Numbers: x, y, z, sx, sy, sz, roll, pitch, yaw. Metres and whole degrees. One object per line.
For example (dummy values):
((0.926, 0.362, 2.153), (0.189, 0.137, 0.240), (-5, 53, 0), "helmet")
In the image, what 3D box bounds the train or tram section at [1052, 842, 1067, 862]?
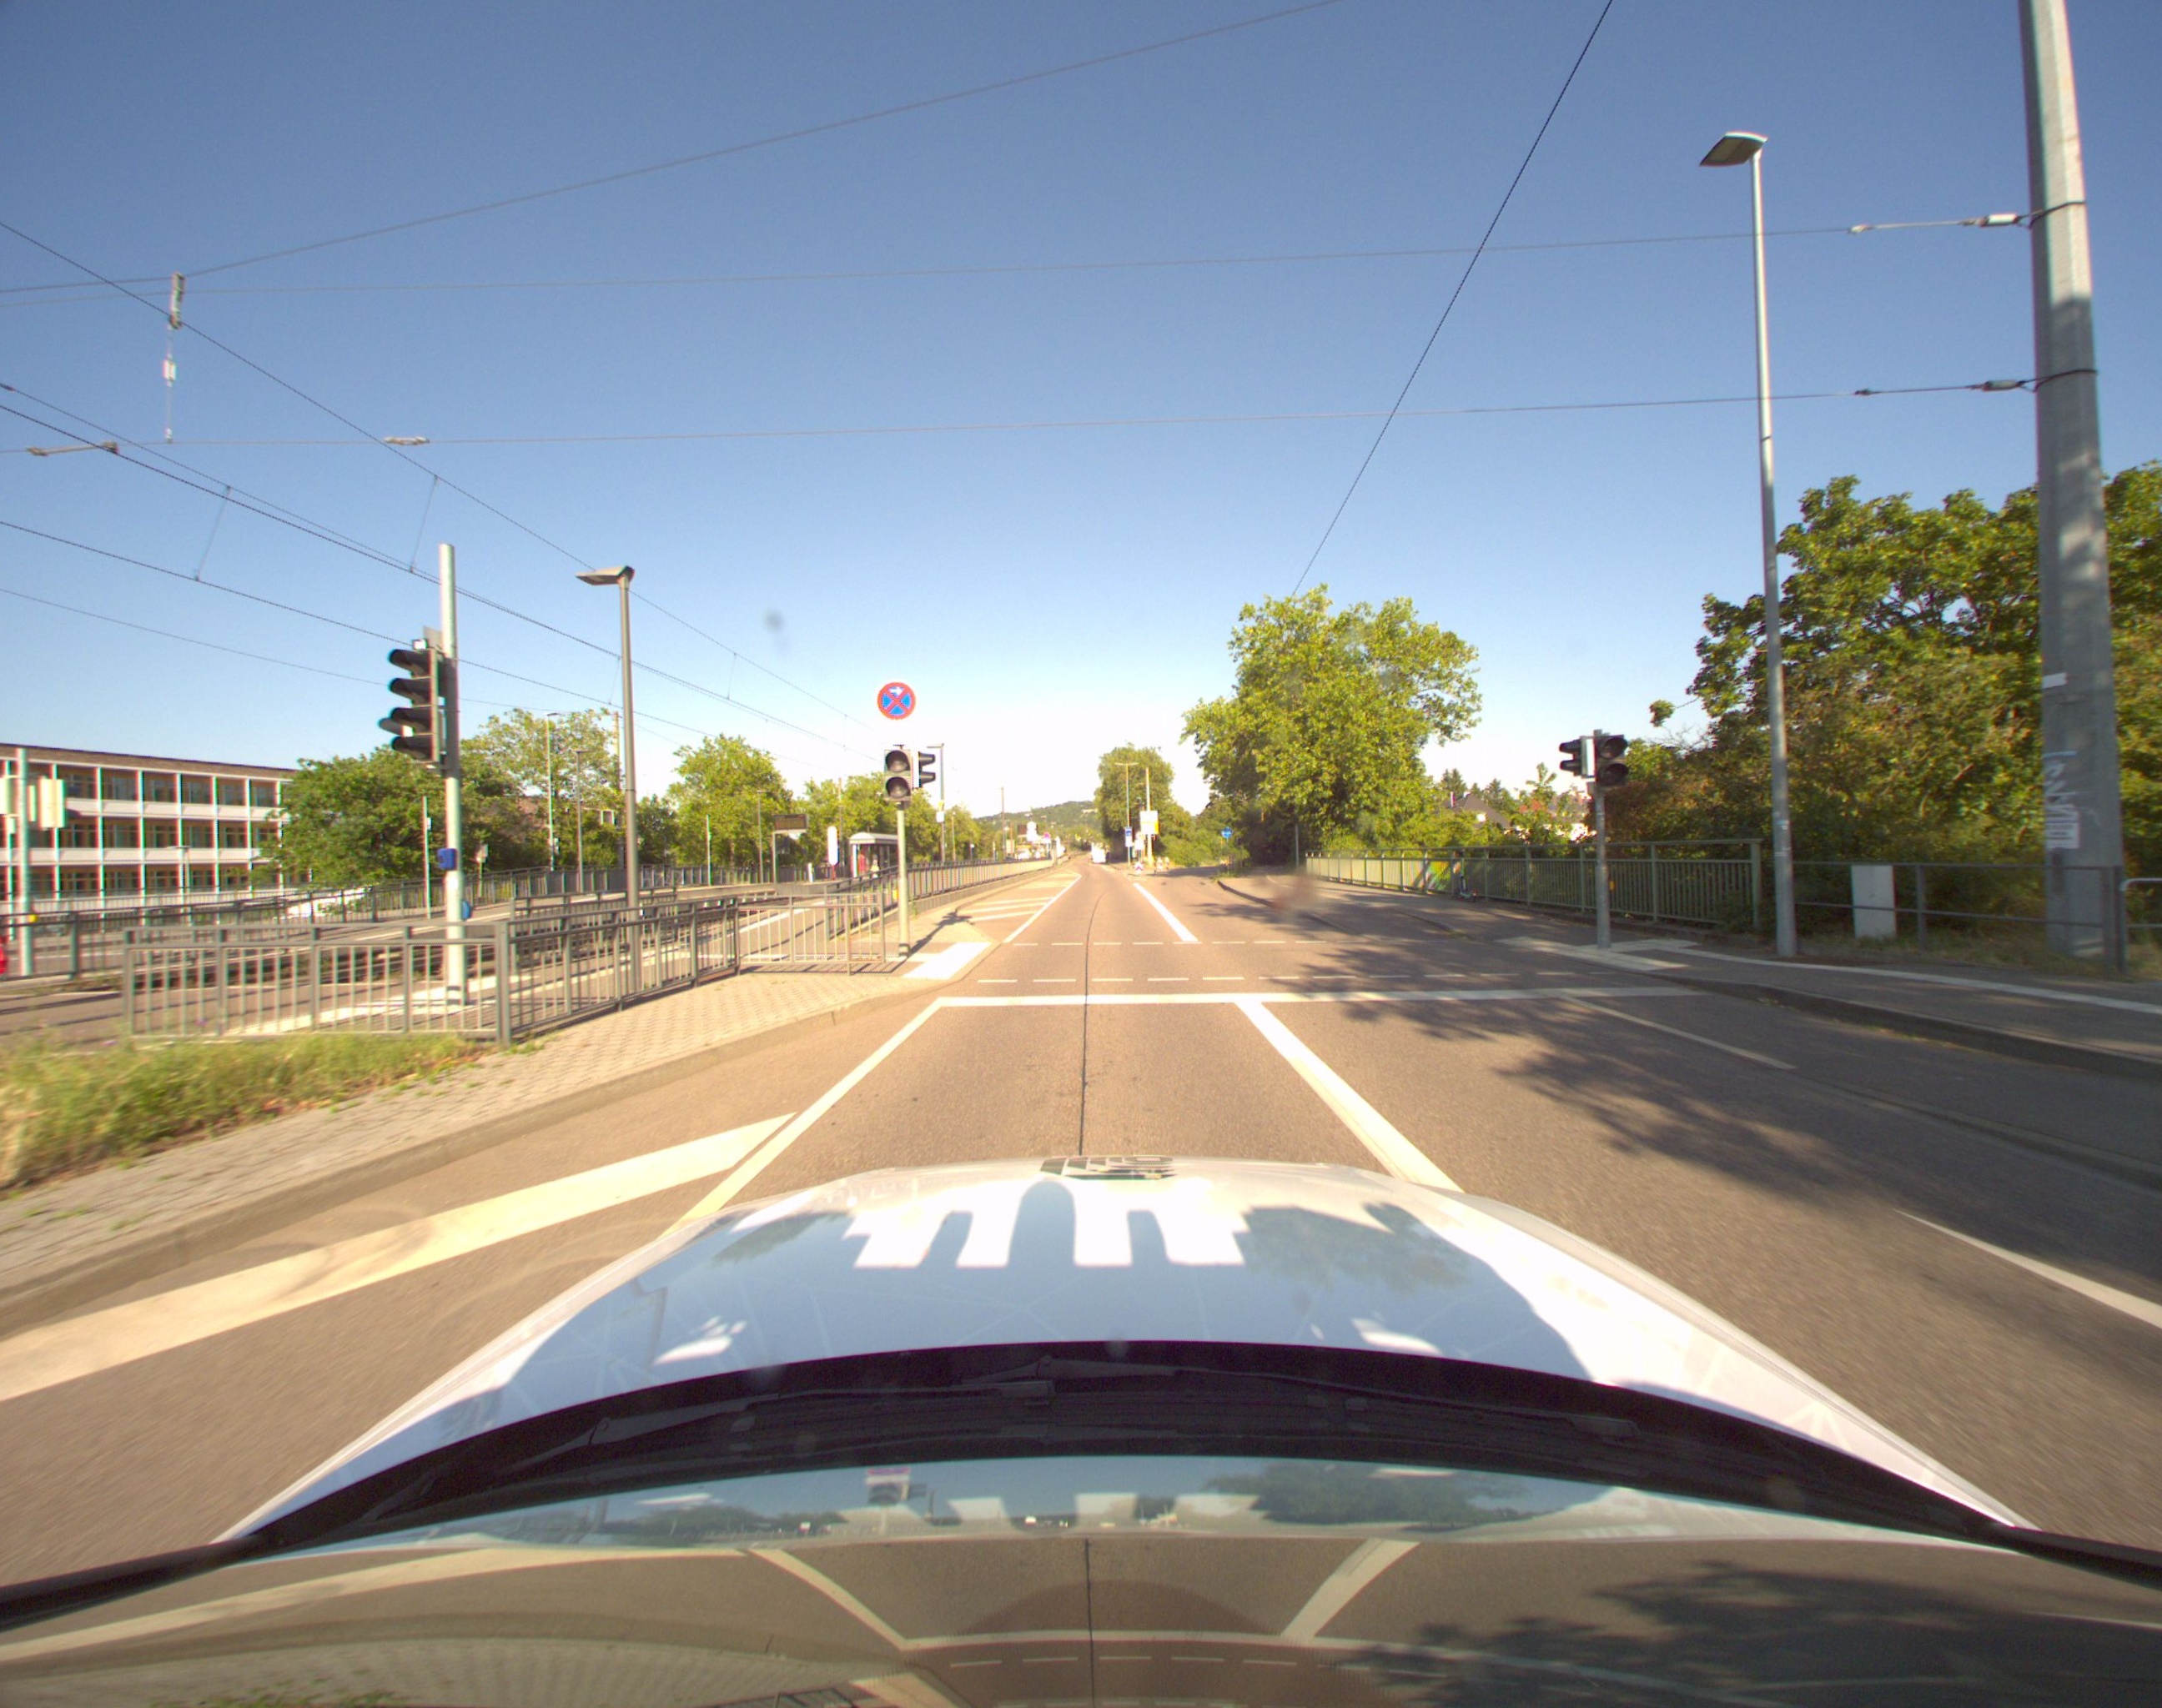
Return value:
((-4.737, -0.405, 181.801), (2.712, 4.091, 13.618), (-3, 0, 1), "train or tram section")

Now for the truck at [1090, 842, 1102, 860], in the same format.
((3.352, -0.656, 182.573), (2.732, 3.783, 10.089), (0, 0, 0), "truck")

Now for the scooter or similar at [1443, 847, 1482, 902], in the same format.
((9.264, 0.479, 19.785), (0.425, 1.275, 1.083), (-2, 0, 2), "scooter or similar")

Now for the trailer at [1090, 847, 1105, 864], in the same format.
((2.737, 0.209, 134.679), (2.241, 2.694, 5.953), (-1, 0, 4), "trailer")

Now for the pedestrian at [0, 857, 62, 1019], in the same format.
((-11.480, 0.874, 8.343), (0.883, 1.645, 0.991), (-2, 0, 14), "pedestrian")

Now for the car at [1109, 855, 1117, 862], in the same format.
((6.819, 0.966, 172.568), (1.646, 1.437, 3.779), (-1, 0, 2), "car")

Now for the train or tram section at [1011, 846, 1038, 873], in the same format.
((-8.978, 0.845, 131.308), (2.817, 4.006, 15.881), (-1, 0, 2), "train or tram section")

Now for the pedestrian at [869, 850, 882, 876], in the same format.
((-14.097, 0.635, 55.851), (0.692, 1.757, 0.592), (-2, -1, 37), "pedestrian")

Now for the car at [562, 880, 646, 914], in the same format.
((-23.880, 2.114, 40.981), (1.726, 1.446, 4.002), (-2, 0, 2), "car")
